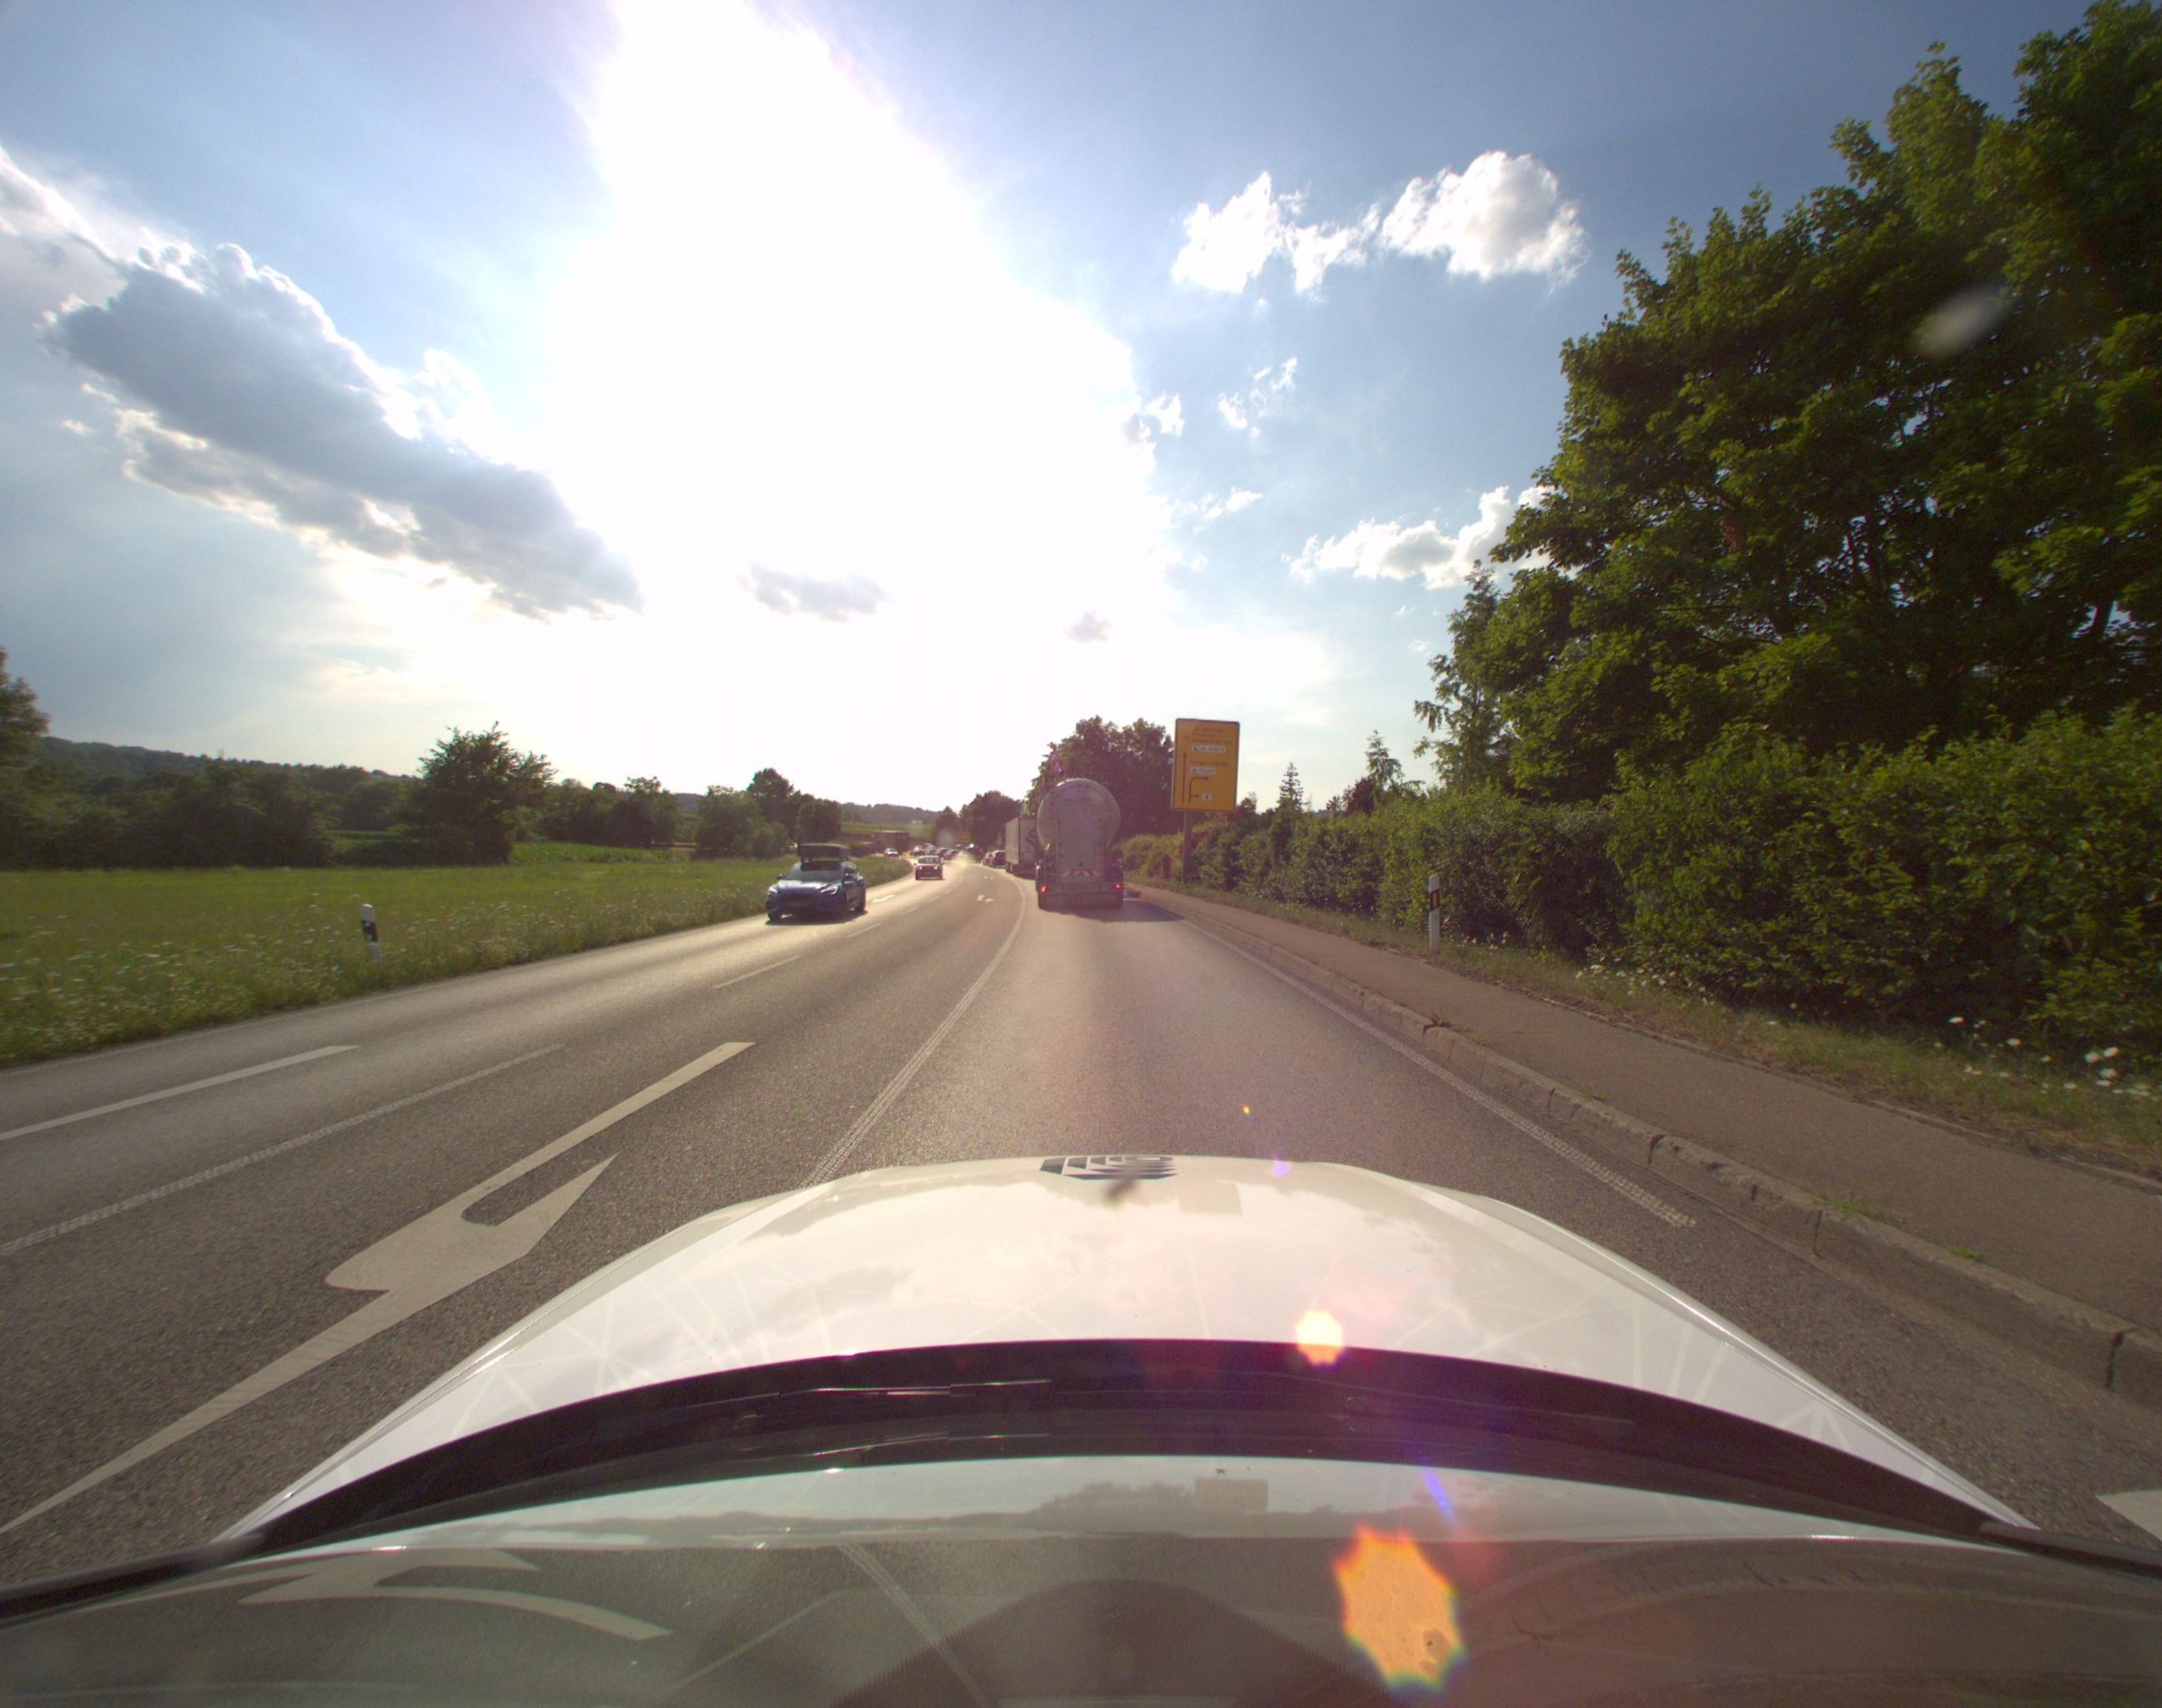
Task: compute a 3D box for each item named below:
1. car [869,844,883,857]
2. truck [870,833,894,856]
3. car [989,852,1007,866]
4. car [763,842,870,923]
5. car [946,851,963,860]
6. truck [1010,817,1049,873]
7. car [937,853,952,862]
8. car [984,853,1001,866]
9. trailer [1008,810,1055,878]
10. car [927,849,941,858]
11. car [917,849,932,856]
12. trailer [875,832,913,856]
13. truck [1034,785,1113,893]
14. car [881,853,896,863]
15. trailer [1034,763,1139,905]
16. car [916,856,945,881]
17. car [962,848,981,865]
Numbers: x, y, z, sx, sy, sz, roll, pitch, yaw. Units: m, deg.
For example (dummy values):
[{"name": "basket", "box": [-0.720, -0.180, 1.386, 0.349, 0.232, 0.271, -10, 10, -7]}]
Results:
[{"name": "car", "box": [-35.656, -0.578, 141.615, 2.005, 2.136, 4.746, 0, 0, -20]}, {"name": "truck", "box": [-39.303, -1.880, 160.744, 3.395, 4.350, 5.654, 1, 0, -28]}, {"name": "car", "box": [-8.201, 0.476, 80.213, 1.579, 1.341, 3.416, 1, 0, -8]}, {"name": "car", "box": [-6.855, 0.670, 21.551, 1.722, 1.882, 4.327, -2, 0, -5]}, {"name": "car", "box": [-18.091, 0.186, 116.582, 1.587, 1.341, 3.400, 1, 0, -22]}, {"name": "truck", "box": [-4.221, -0.678, 65.707, 2.946, 4.303, 4.922, 1, 0, -5]}, {"name": "car", "box": [-20.596, 0.515, 122.651, 1.587, 1.341, 3.400, 1, 0, -22]}, {"name": "car", "box": [-9.633, 0.606, 88.494, 1.580, 1.341, 3.413, 1, 0, -10]}, {"name": "trailer", "box": [-3.727, -0.654, 59.494, 2.950, 4.315, 14.151, 1, 0, -5]}, {"name": "car", "box": [-23.571, -0.046, 130.321, 1.587, 1.341, 3.400, 1, 0, -22]}, {"name": "car", "box": [-26.296, -0.276, 136.542, 1.776, 1.206, 3.400, 1, 0, -22]}, {"name": "trailer", "box": [-35.294, -1.799, 153.170, 3.395, 4.350, 14.164, 1, 0, -28]}, {"name": "truck", "box": [-0.395, -0.560, 32.496, 2.904, 4.006, 4.054, -1, 0, -4]}, {"name": "car", "box": [-29.422, 0.616, 124.505, 1.713, 1.428, 4.149, 0, 0, -21]}, {"name": "trailer", "box": [-0.120, -0.586, 28.111, 2.904, 4.006, 9.916, -1, 0, -4]}, {"name": "car", "box": [-9.497, 0.914, 51.585, 1.584, 1.466, 3.597, -2, 0, -8]}, {"name": "car", "box": [-13.786, 0.305, 102.505, 1.865, 2.013, 3.699, 0, 0, -16]}]
